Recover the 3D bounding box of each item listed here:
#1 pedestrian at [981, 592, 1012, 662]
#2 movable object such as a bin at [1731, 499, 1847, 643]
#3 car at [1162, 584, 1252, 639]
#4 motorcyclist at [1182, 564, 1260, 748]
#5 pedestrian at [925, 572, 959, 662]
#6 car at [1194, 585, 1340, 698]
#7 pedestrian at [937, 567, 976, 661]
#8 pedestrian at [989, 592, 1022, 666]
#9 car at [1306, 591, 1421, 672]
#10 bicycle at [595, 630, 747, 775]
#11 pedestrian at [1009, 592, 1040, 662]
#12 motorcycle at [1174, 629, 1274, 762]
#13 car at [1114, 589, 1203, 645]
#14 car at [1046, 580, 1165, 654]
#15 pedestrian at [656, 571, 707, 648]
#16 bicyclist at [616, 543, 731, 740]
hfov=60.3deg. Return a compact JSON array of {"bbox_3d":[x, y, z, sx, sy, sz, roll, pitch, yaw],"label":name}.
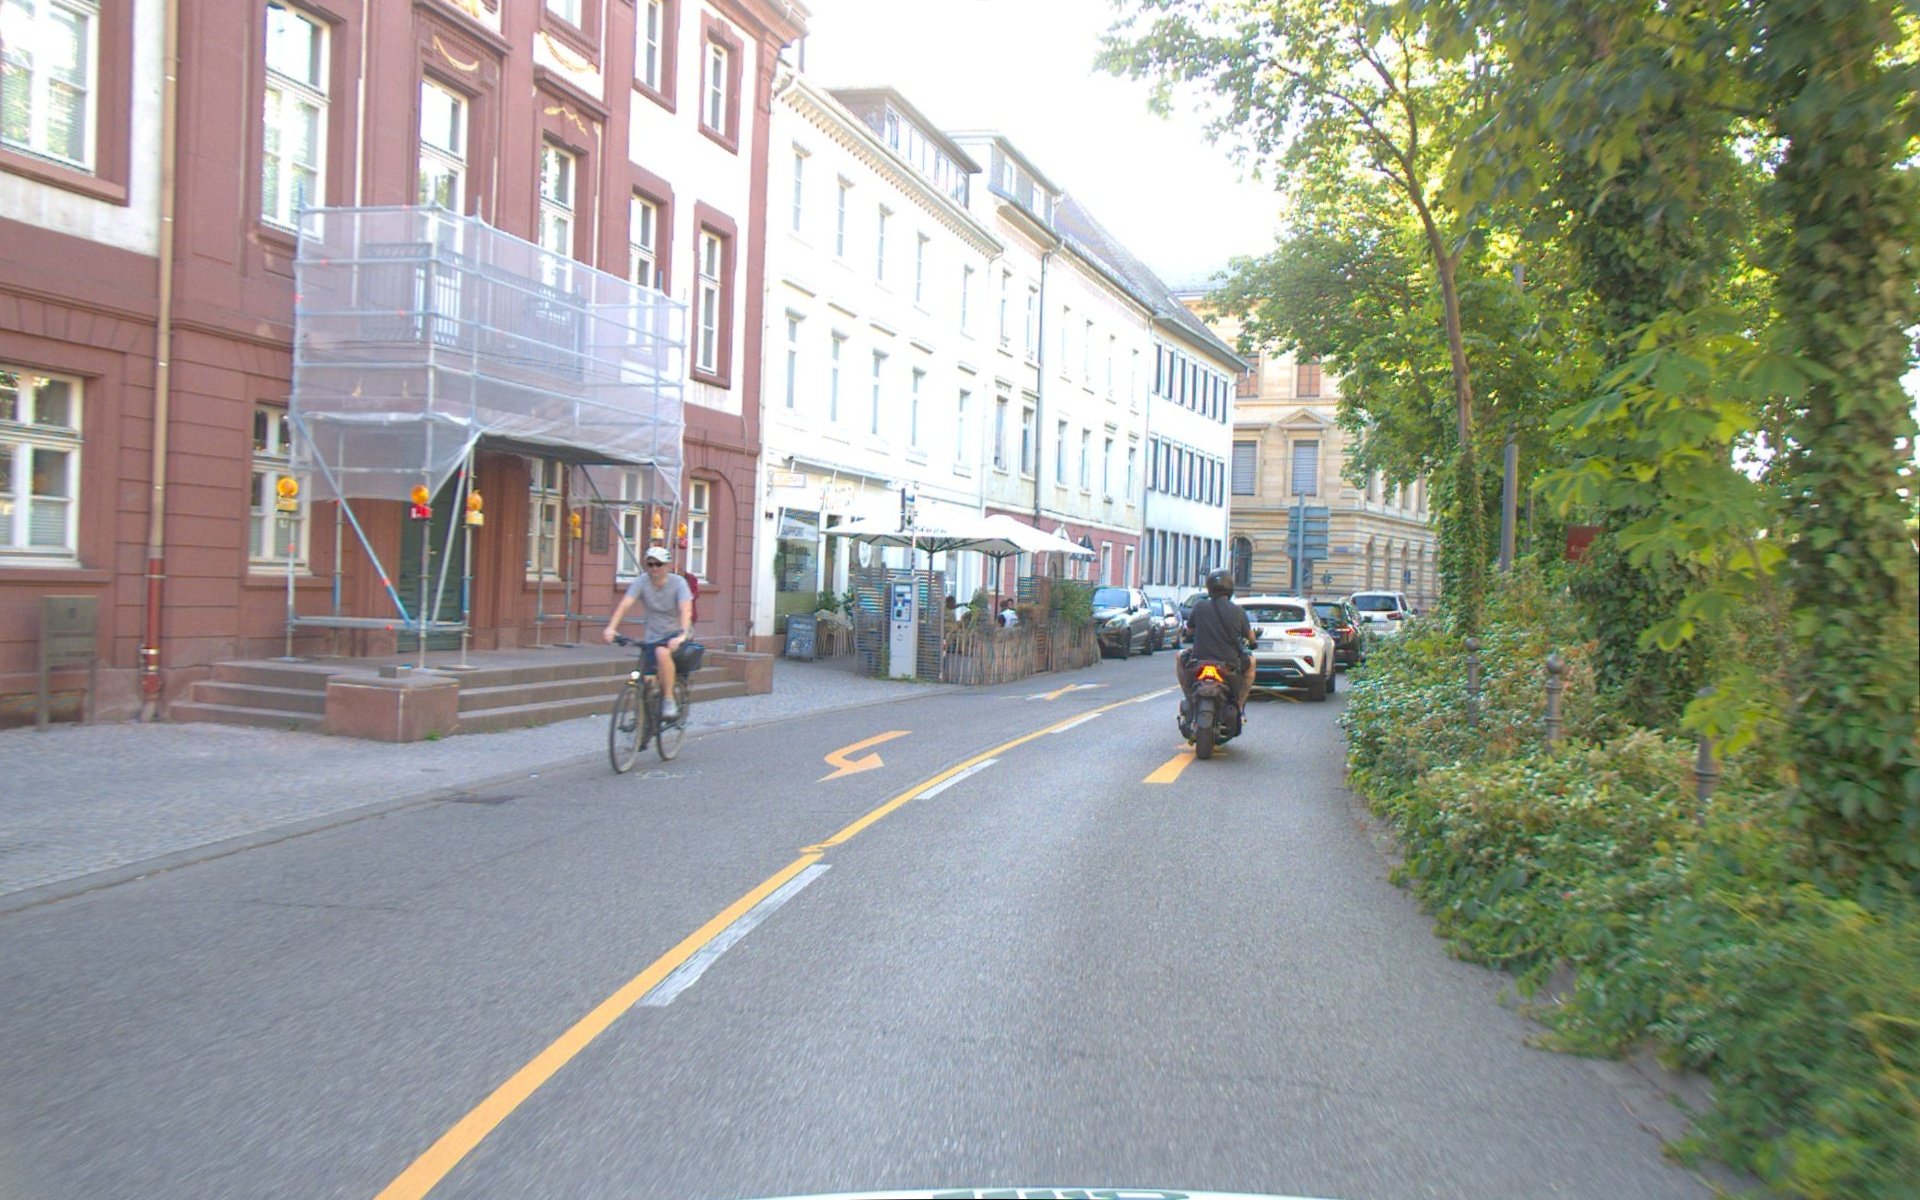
[{"bbox_3d":[0.757,0.543,34.091,0.512,1.415,0.489,1,0,14],"label":"pedestrian"},{"bbox_3d":[28.471,-0.959,57.103,3.241,4.618,7.900,1,0,25],"label":"movable object such as a bin"},{"bbox_3d":[8.138,0.363,54.186,1.894,1.696,4.346,1,0,22],"label":"car"},{"bbox_3d":[2.458,0.511,15.626,0.643,1.679,0.651,2,1,7],"label":"motorcyclist"},{"bbox_3d":[-0.362,0.347,33.631,0.429,1.806,0.596,2,0,30],"label":"pedestrian"},{"bbox_3d":[4.725,0.560,25.044,1.811,1.506,4.060,2,1,15],"label":"car"},{"bbox_3d":[-0.068,0.276,32.254,0.584,1.806,0.439,2,0,25],"label":"pedestrian"},{"bbox_3d":[0.906,0.570,32.819,0.461,1.458,0.502,2,0,21],"label":"pedestrian"},{"bbox_3d":[8.422,0.604,34.295,1.802,1.489,4.058,3,1,20],"label":"car"},{"bbox_3d":[-2.462,0.842,14.339,0.755,1.081,2.079,1,1,5],"label":"bicycle"},{"bbox_3d":[1.325,0.552,33.951,0.512,1.415,0.489,1,0,14],"label":"pedestrian"},{"bbox_3d":[2.450,0.862,15.545,0.780,1.084,1.726,2,1,5],"label":"motorcycle"},{"bbox_3d":[5.675,0.449,46.901,1.619,1.506,4.430,1,0,19],"label":"car"},{"bbox_3d":[3.689,0.389,41.129,1.882,1.709,4.787,1,0,19],"label":"car"},{"bbox_3d":[-3.980,0.131,23.654,0.525,1.071,0.552,2,1,12],"label":"pedestrian"},{"bbox_3d":[-2.453,0.339,14.225,0.728,1.611,0.795,2,1,5],"label":"bicyclist"}]
